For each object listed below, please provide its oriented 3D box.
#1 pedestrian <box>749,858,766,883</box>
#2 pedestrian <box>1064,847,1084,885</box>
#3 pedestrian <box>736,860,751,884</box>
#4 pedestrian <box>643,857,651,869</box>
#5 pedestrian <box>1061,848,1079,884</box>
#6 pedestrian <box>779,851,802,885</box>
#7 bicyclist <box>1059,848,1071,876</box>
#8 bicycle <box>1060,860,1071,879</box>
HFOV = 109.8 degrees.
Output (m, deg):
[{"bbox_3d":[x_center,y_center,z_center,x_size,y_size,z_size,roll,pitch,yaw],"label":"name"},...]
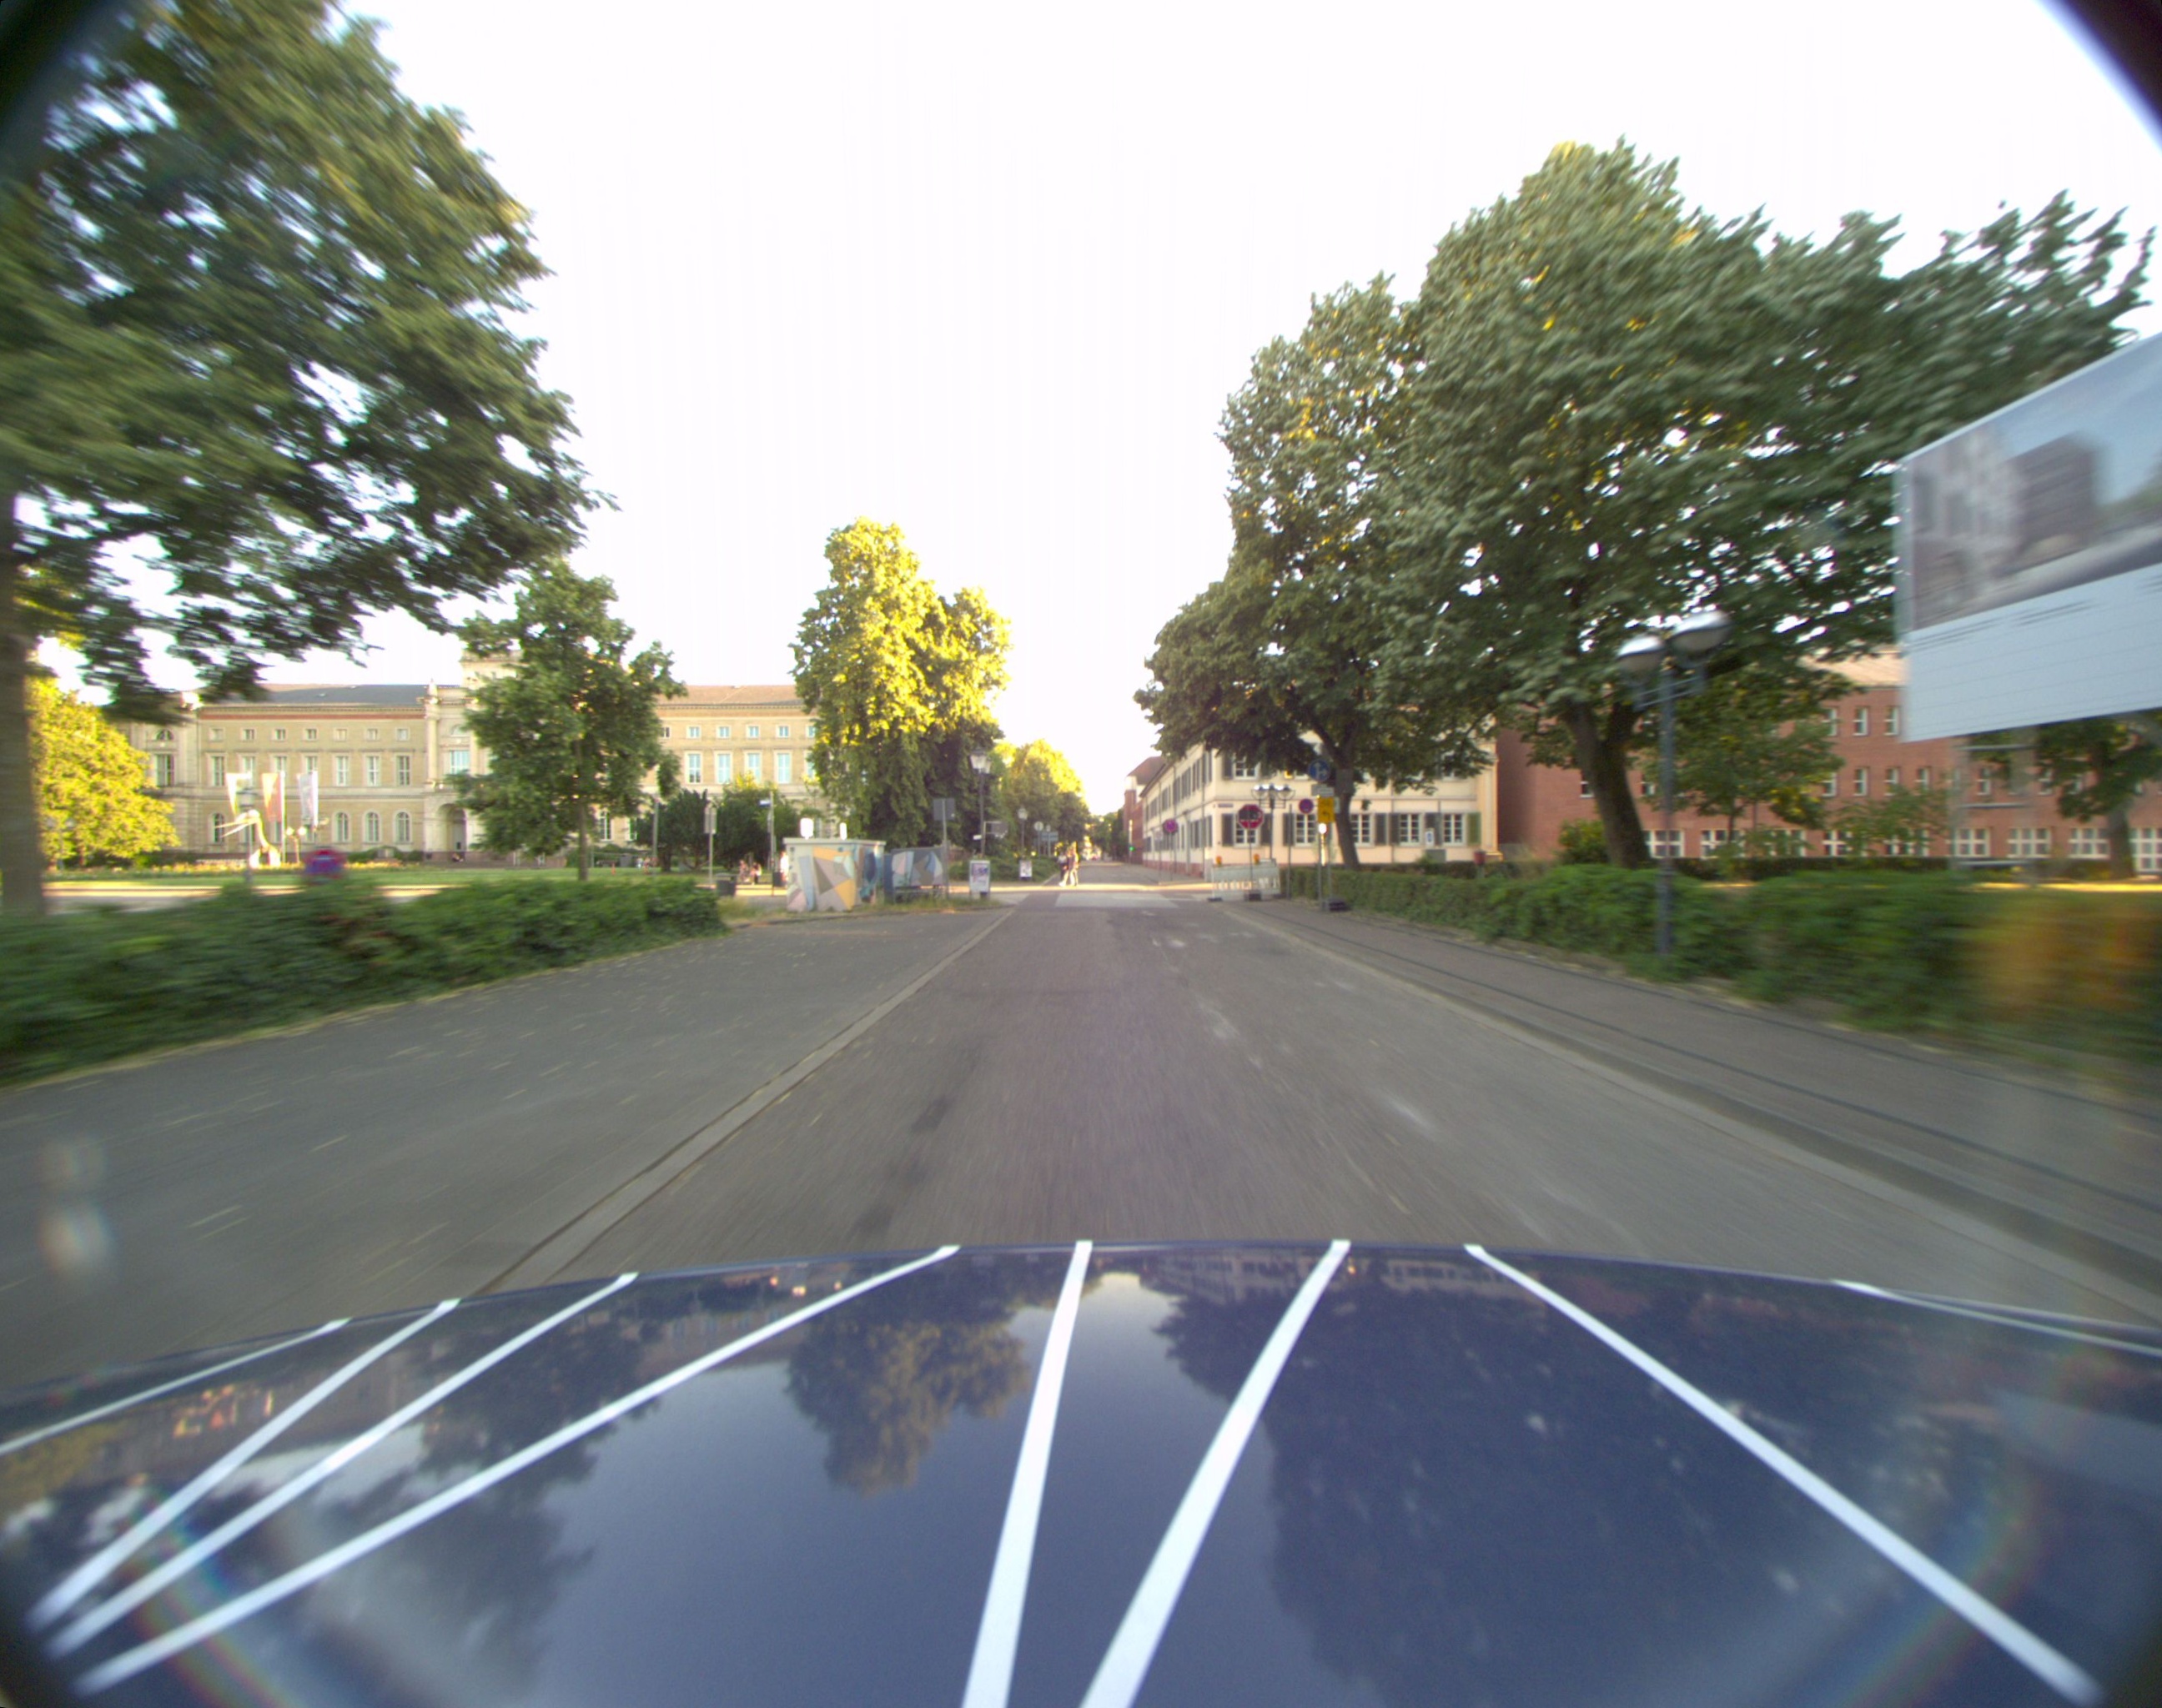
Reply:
[{"bbox_3d":[-16.186,0.830,38.048,0.608,1.207,0.666,-1,1,-5],"label":"pedestrian"},{"bbox_3d":[-0.344,0.574,36.190,0.941,1.777,0.762,0,1,-1],"label":"pedestrian"},{"bbox_3d":[-16.881,0.893,38.053,0.500,1.207,0.592,-1,1,-5],"label":"pedestrian"},{"bbox_3d":[-44.043,0.919,77.177,0.500,1.281,0.592,-1,1,-5],"label":"pedestrian"},{"bbox_3d":[-0.557,0.566,37.076,0.859,1.730,0.649,0,1,-1],"label":"pedestrian"},{"bbox_3d":[-13.930,0.658,36.465,0.859,1.616,0.757,0,1,-4],"label":"pedestrian"},{"bbox_3d":[-1.041,0.531,49.009,0.673,1.793,1.060,-1,0,-2],"label":"bicyclist"},{"bbox_3d":[-1.027,0.963,48.995,0.653,1.175,2.344,0,0,-2],"label":"bicycle"}]
